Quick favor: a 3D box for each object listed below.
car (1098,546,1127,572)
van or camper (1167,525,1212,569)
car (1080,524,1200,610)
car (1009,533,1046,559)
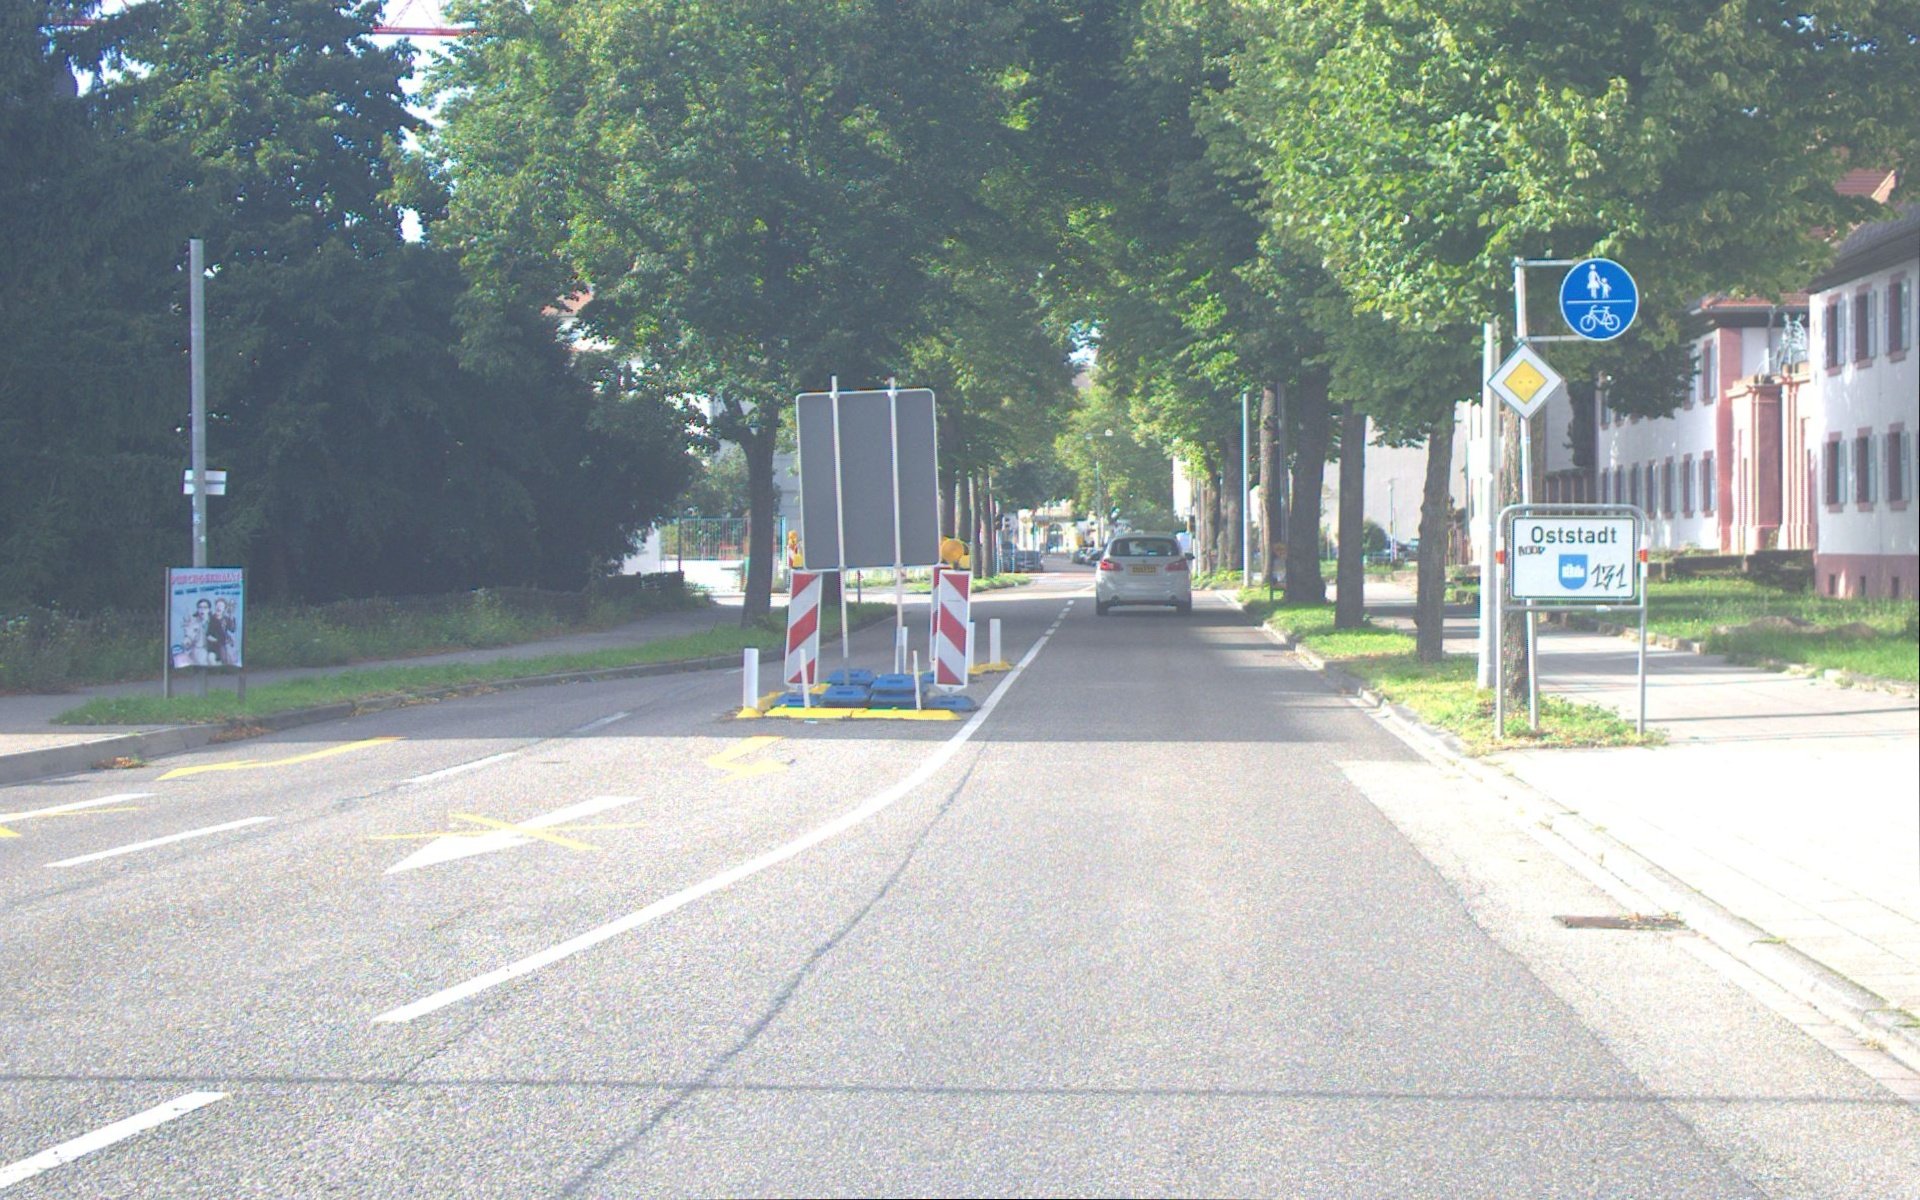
[{"bbox_3d":[10.514,-2.850,236.925,1.994,1.749,4.000,1,1,3],"label":"car"},{"bbox_3d":[13.679,-3.154,205.099,2.209,2.598,5.372,0,1,-1],"label":"van or camper"},{"bbox_3d":[3.373,-0.622,65.246,1.993,1.549,4.274,1,1,-1],"label":"car"},{"bbox_3d":[4.362,-3.494,221.951,1.993,1.634,4.001,-1,1,-4],"label":"car"}]
